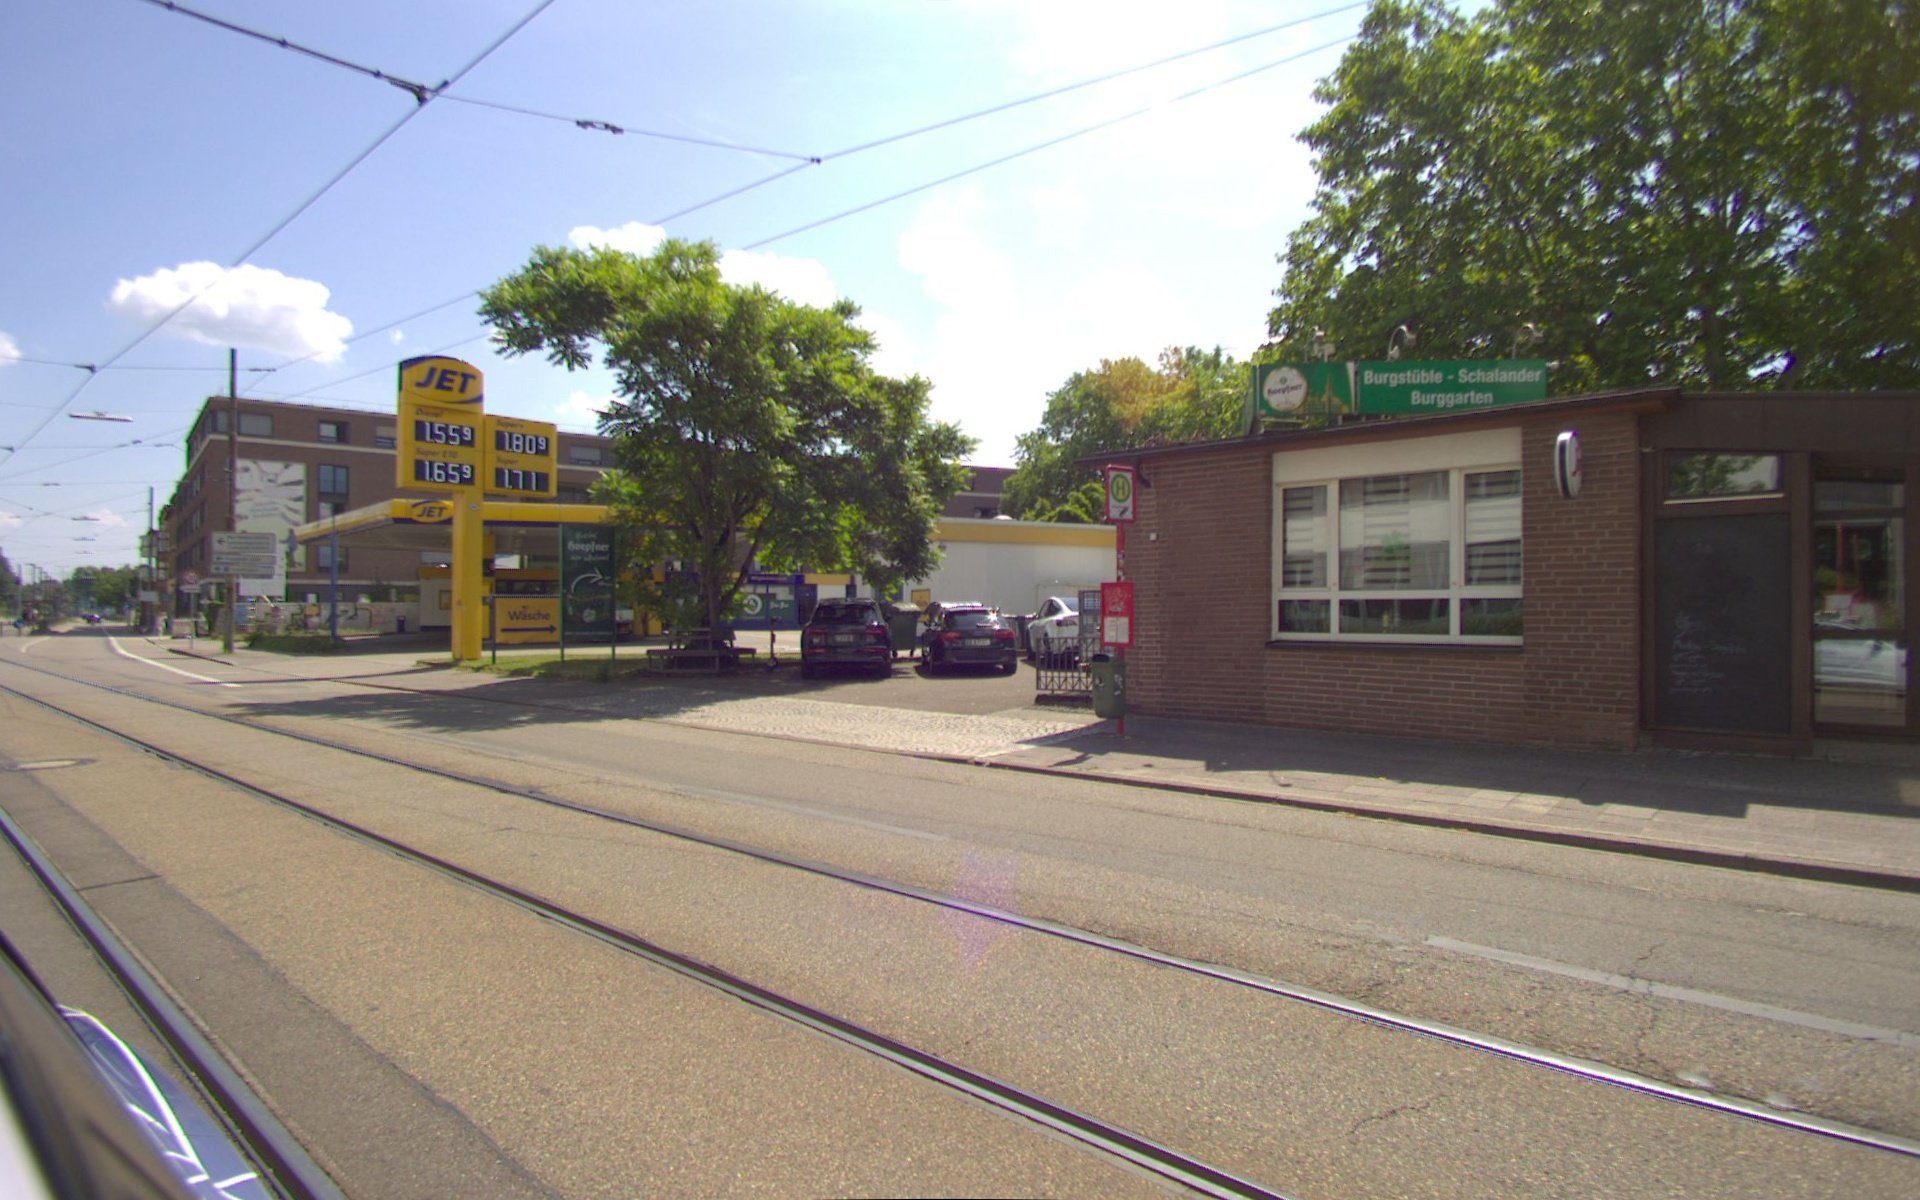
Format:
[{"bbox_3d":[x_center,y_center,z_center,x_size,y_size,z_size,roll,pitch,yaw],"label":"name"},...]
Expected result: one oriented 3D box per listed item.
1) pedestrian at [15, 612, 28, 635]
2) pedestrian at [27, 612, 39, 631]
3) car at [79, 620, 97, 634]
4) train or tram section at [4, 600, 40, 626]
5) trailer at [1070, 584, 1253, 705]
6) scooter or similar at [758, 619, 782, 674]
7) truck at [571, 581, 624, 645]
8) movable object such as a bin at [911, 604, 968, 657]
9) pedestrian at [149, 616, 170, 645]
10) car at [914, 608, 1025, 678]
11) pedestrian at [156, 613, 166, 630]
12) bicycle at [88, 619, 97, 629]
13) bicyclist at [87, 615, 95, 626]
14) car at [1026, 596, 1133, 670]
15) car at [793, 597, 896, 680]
[{"bbox_3d":[-72.159,1.787,77.805,0.677,1.773,1.035,2,-2,-42],"label":"pedestrian"},{"bbox_3d":[-82.672,1.949,90.230,0.751,1.708,0.810,2,-2,-42],"label":"pedestrian"},{"bbox_3d":[-134.867,4.094,156.552,1.992,2.029,4.006,-2,1,-41],"label":"car"},{"bbox_3d":[-134.799,1.847,145.628,3.195,3.594,16.373,1,-2,-41],"label":"train or tram section"},{"bbox_3d":[3.202,0.644,15.888,1.621,1.716,2.800,-1,-1,42],"label":"trailer"},{"bbox_3d":[-4.246,1.021,22.682,0.400,1.183,1.362,0,-1,-5],"label":"scooter or similar"},{"bbox_3d":[-15.182,0.539,42.579,1.966,2.517,5.219,0,-1,-18],"label":"truck"},{"bbox_3d":[-0.547,0.807,26.889,1.326,1.364,0.760,0,-1,-37],"label":"movable object such as a bin"},{"bbox_3d":[-46.761,1.781,59.110,1.000,1.608,0.751,-1,2,44],"label":"pedestrian"},{"bbox_3d":[0.109,0.890,22.586,1.880,1.405,4.340,0,-1,-7],"label":"car"},{"bbox_3d":[-78.217,2.093,99.117,0.677,1.608,0.762,2,-2,-42],"label":"pedestrian"},{"bbox_3d":[-117.497,3.254,137.065,0.807,1.232,2.390,2,-2,-45],"label":"bicycle"},{"bbox_3d":[-117.642,2.804,137.040,1.065,1.516,0.750,-1,-2,43],"label":"bicyclist"},{"bbox_3d":[2.719,0.739,24.078,1.883,1.604,4.335,0,-1,-2],"label":"car"},{"bbox_3d":[-2.419,0.760,21.785,1.970,1.602,4.338,0,-1,-5],"label":"car"}]
